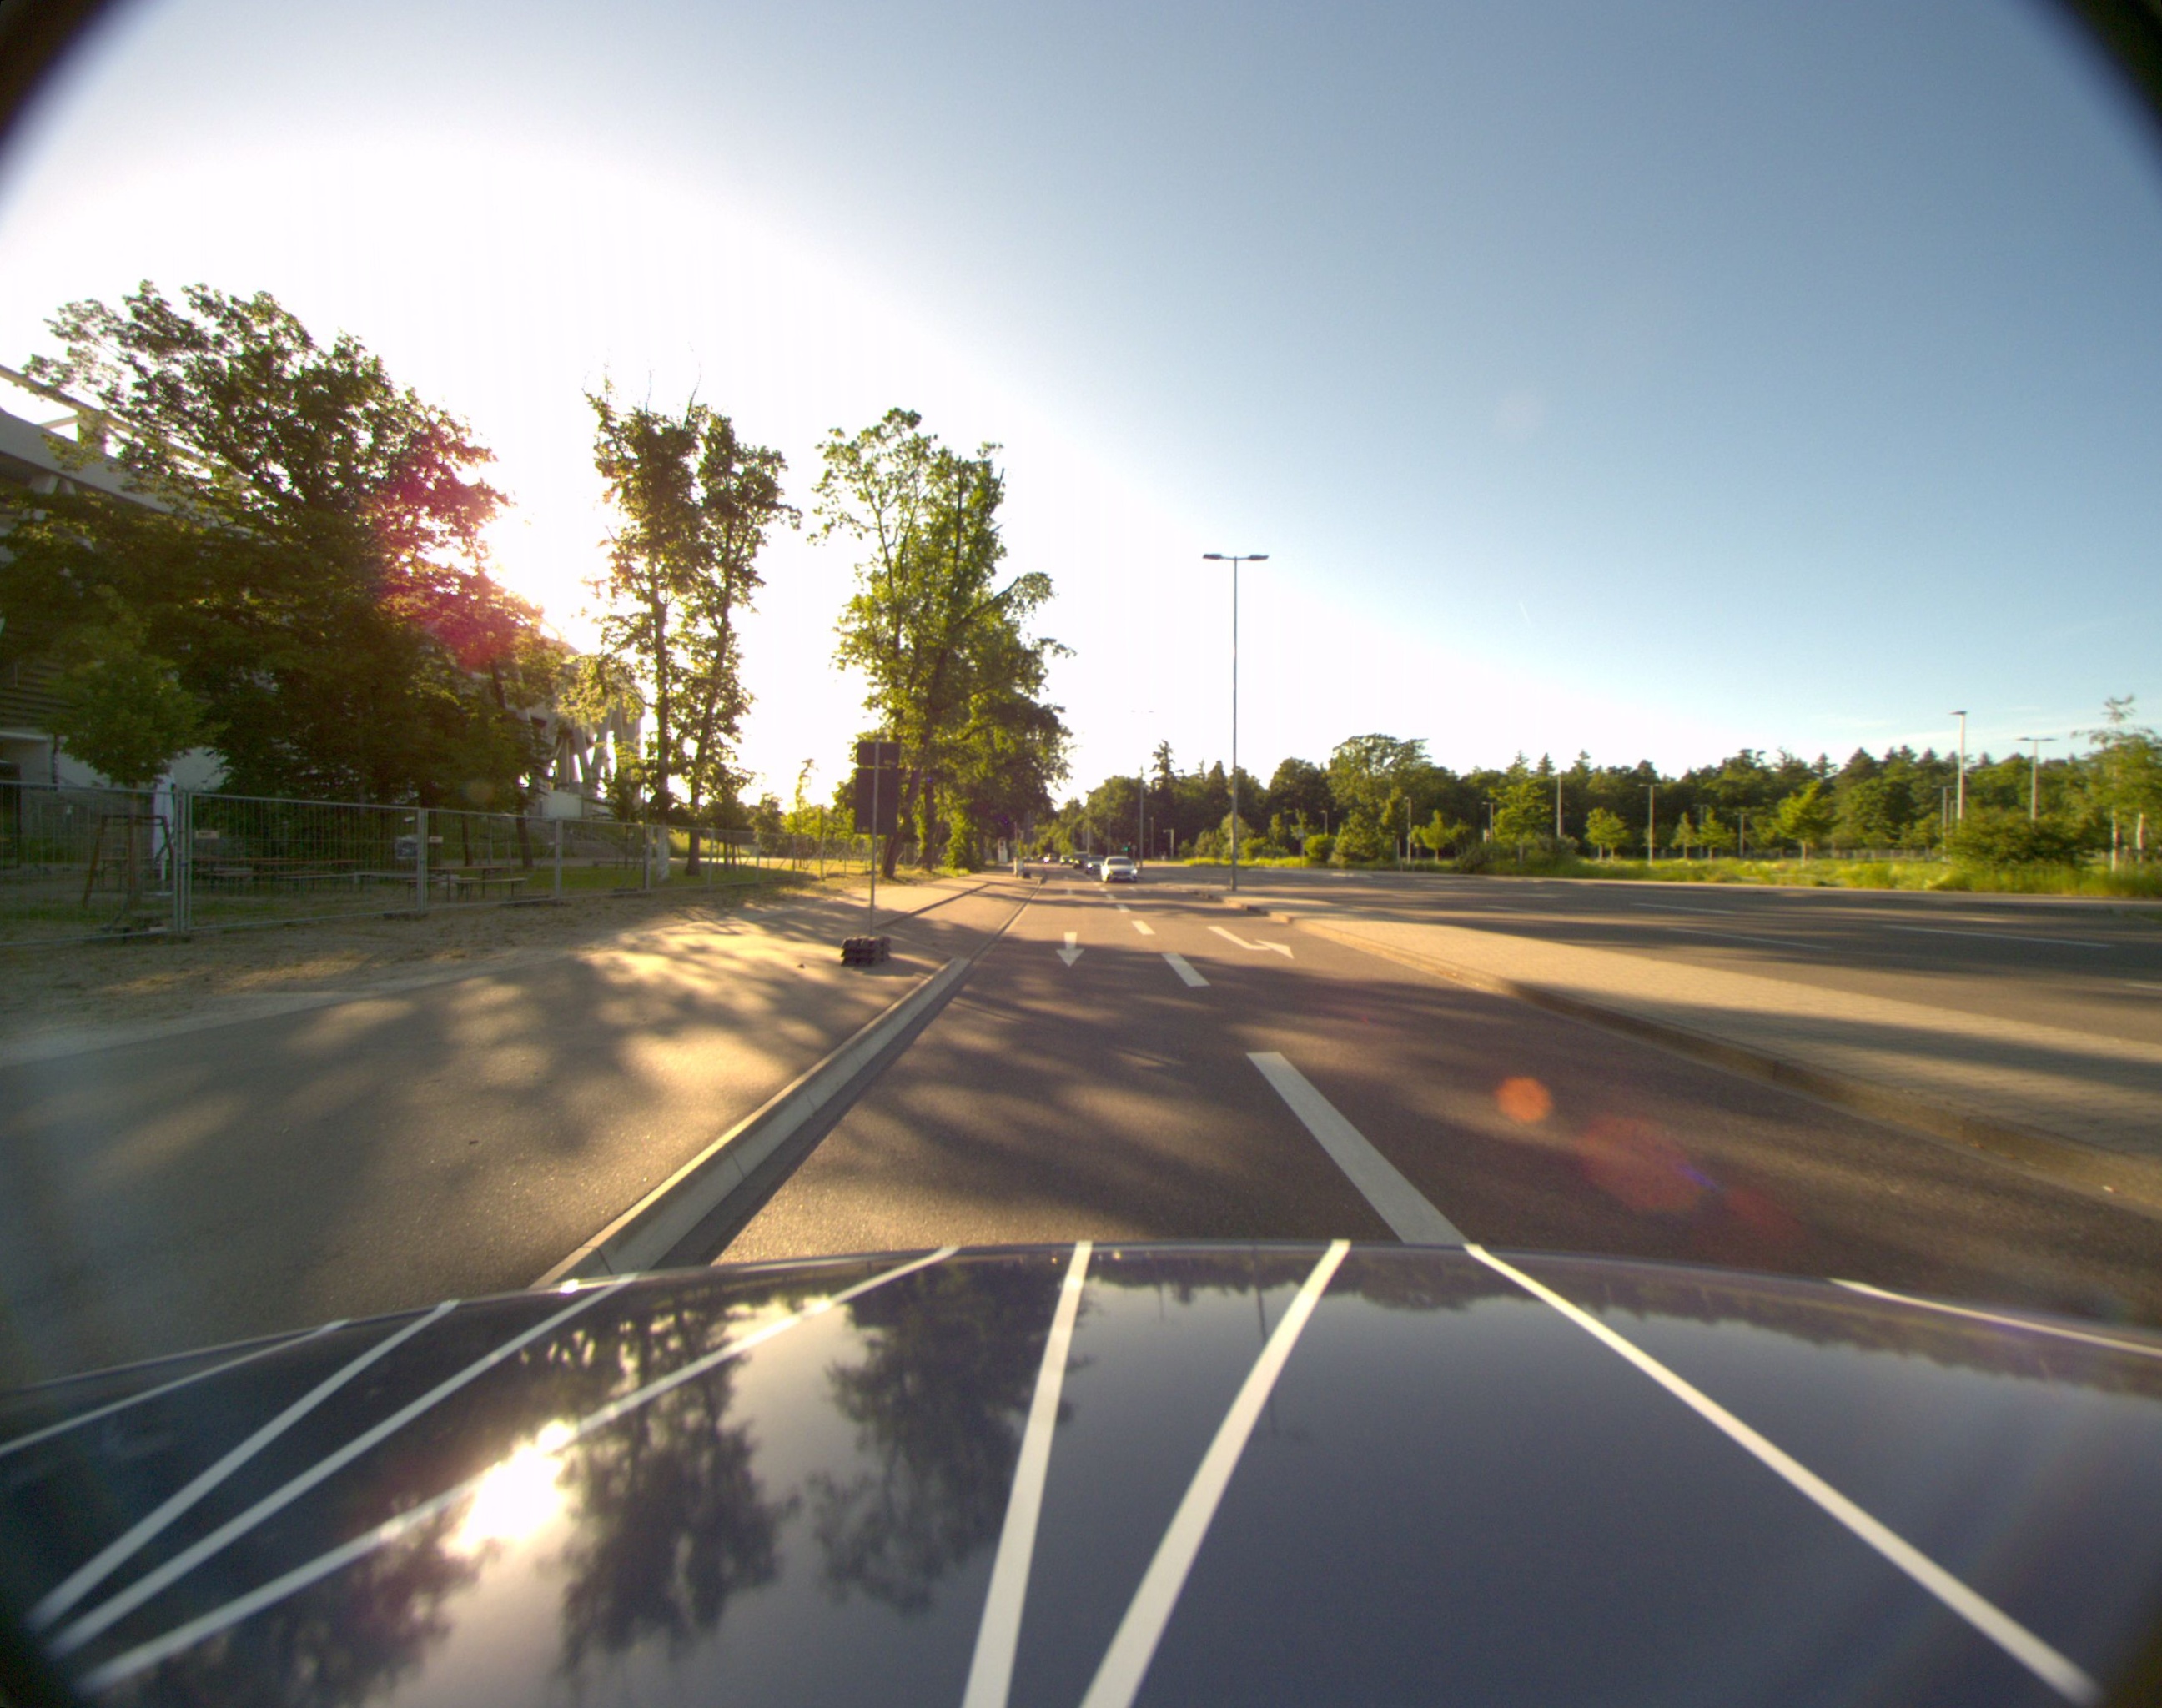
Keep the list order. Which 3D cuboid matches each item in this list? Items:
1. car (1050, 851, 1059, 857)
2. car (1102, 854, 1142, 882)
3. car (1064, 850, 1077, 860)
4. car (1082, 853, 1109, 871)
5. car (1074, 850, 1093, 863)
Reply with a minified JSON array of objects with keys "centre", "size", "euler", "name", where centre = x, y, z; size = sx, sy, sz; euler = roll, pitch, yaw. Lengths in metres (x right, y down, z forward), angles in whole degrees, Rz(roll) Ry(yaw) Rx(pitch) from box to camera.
[{"centre":[-6.235,-0.042,177.982],"size":[1.842,1.395,4.989],"euler":[-1,0,-4],"name":"car"},{"centre":[2.222,0.734,42.111],"size":[1.841,1.395,3.999],"euler":[-1,0,-2],"name":"car"},{"centre":[-1.660,0.148,119.564],"size":[1.841,1.395,4.990],"euler":[-1,0,-2],"name":"car"},{"centre":[1.176,0.641,63.132],"size":[1.841,1.395,4.990],"euler":[-1,0,-3],"name":"car"},{"centre":[0.240,0.291,87.780],"size":[1.841,1.395,4.990],"euler":[-1,0,-3],"name":"car"}]
